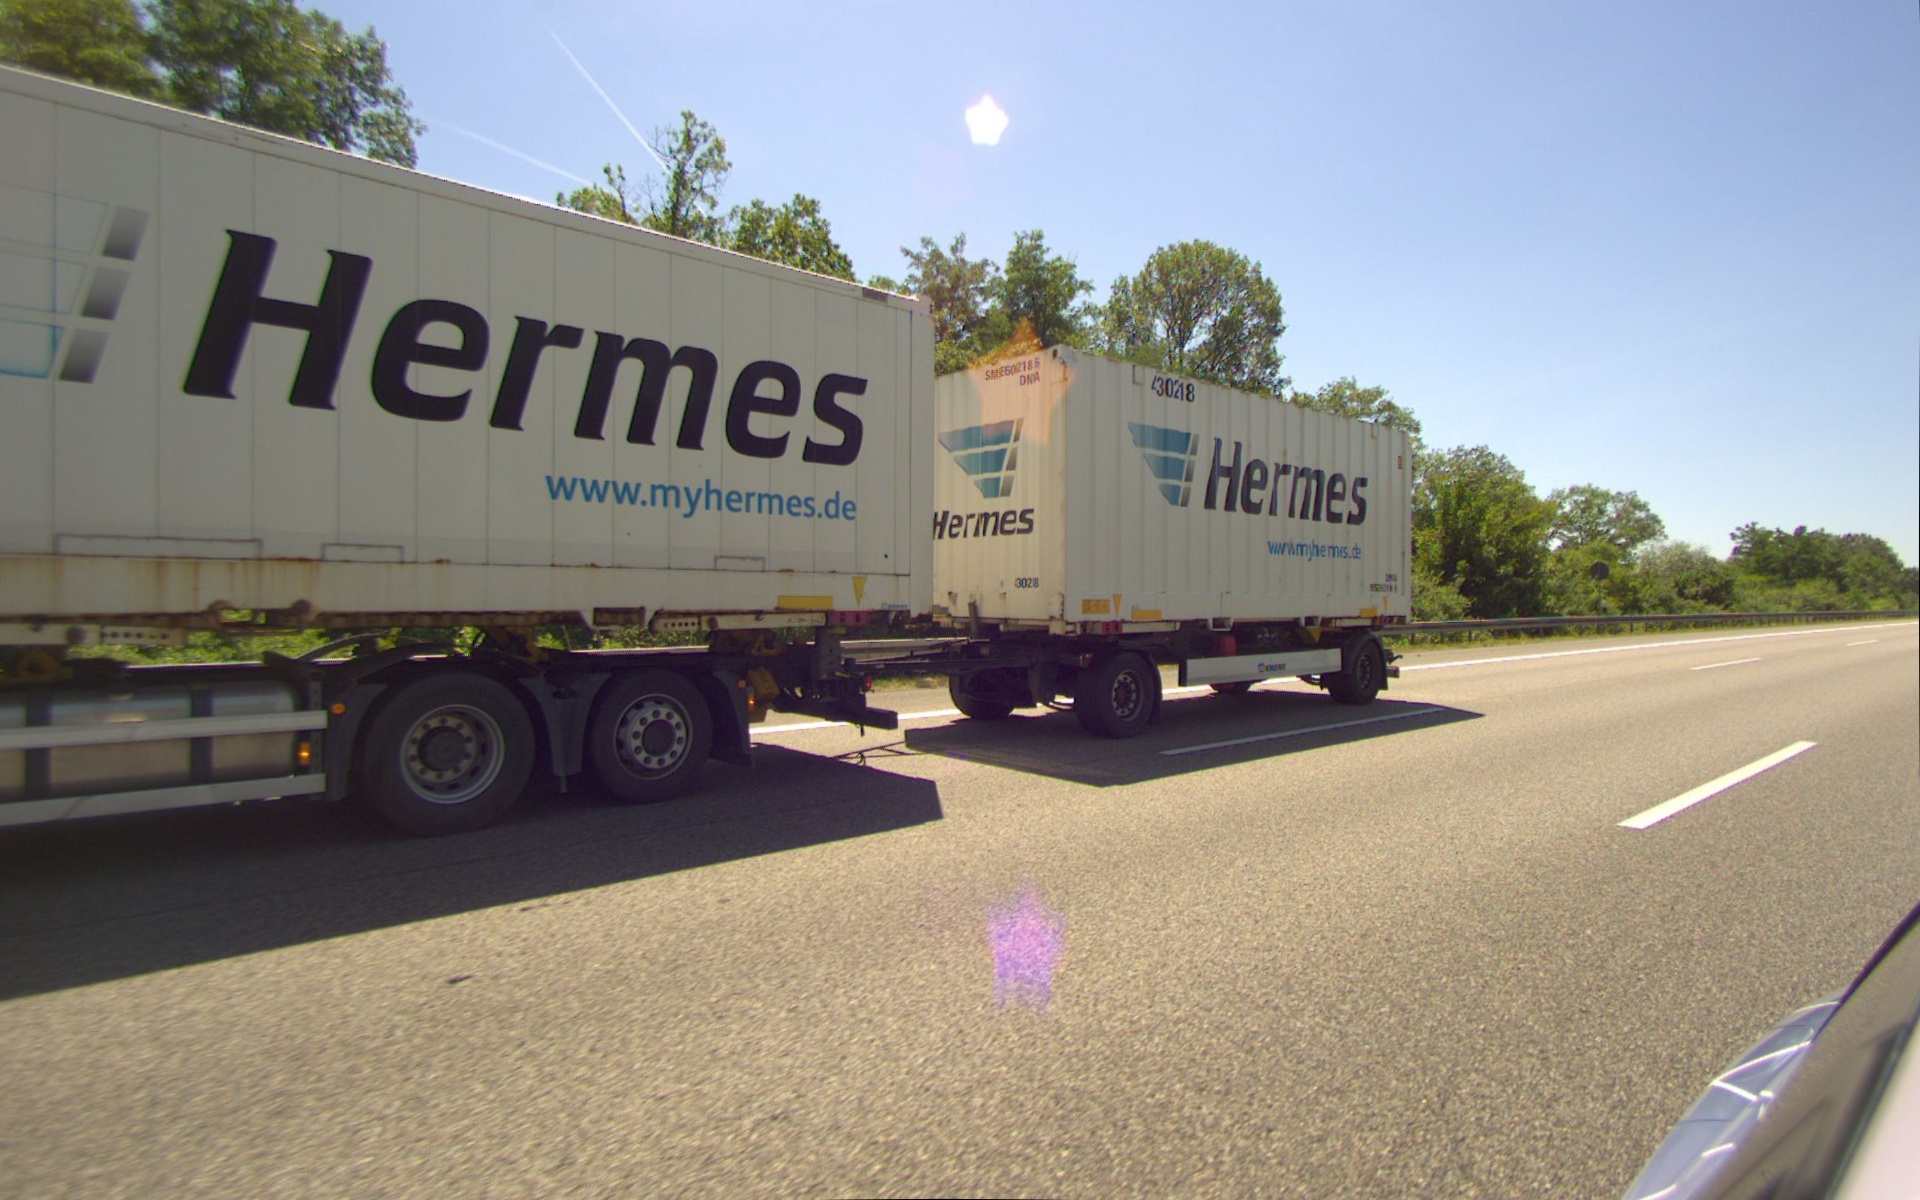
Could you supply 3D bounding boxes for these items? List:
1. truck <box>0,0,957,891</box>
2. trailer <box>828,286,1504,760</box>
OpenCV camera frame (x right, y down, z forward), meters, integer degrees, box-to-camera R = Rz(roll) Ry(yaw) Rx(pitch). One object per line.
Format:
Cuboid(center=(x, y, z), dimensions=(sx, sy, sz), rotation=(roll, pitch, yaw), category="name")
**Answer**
Cuboid(center=(-4.806, -0.744, 6.106), dimensions=(10.482, 4.182, 2.531), rotation=(-1, 0, -41), category="truck")
Cuboid(center=(3.607, -0.717, 13.391), dimensions=(11.066, 4.111, 2.559), rotation=(-1, 0, -41), category="trailer")
